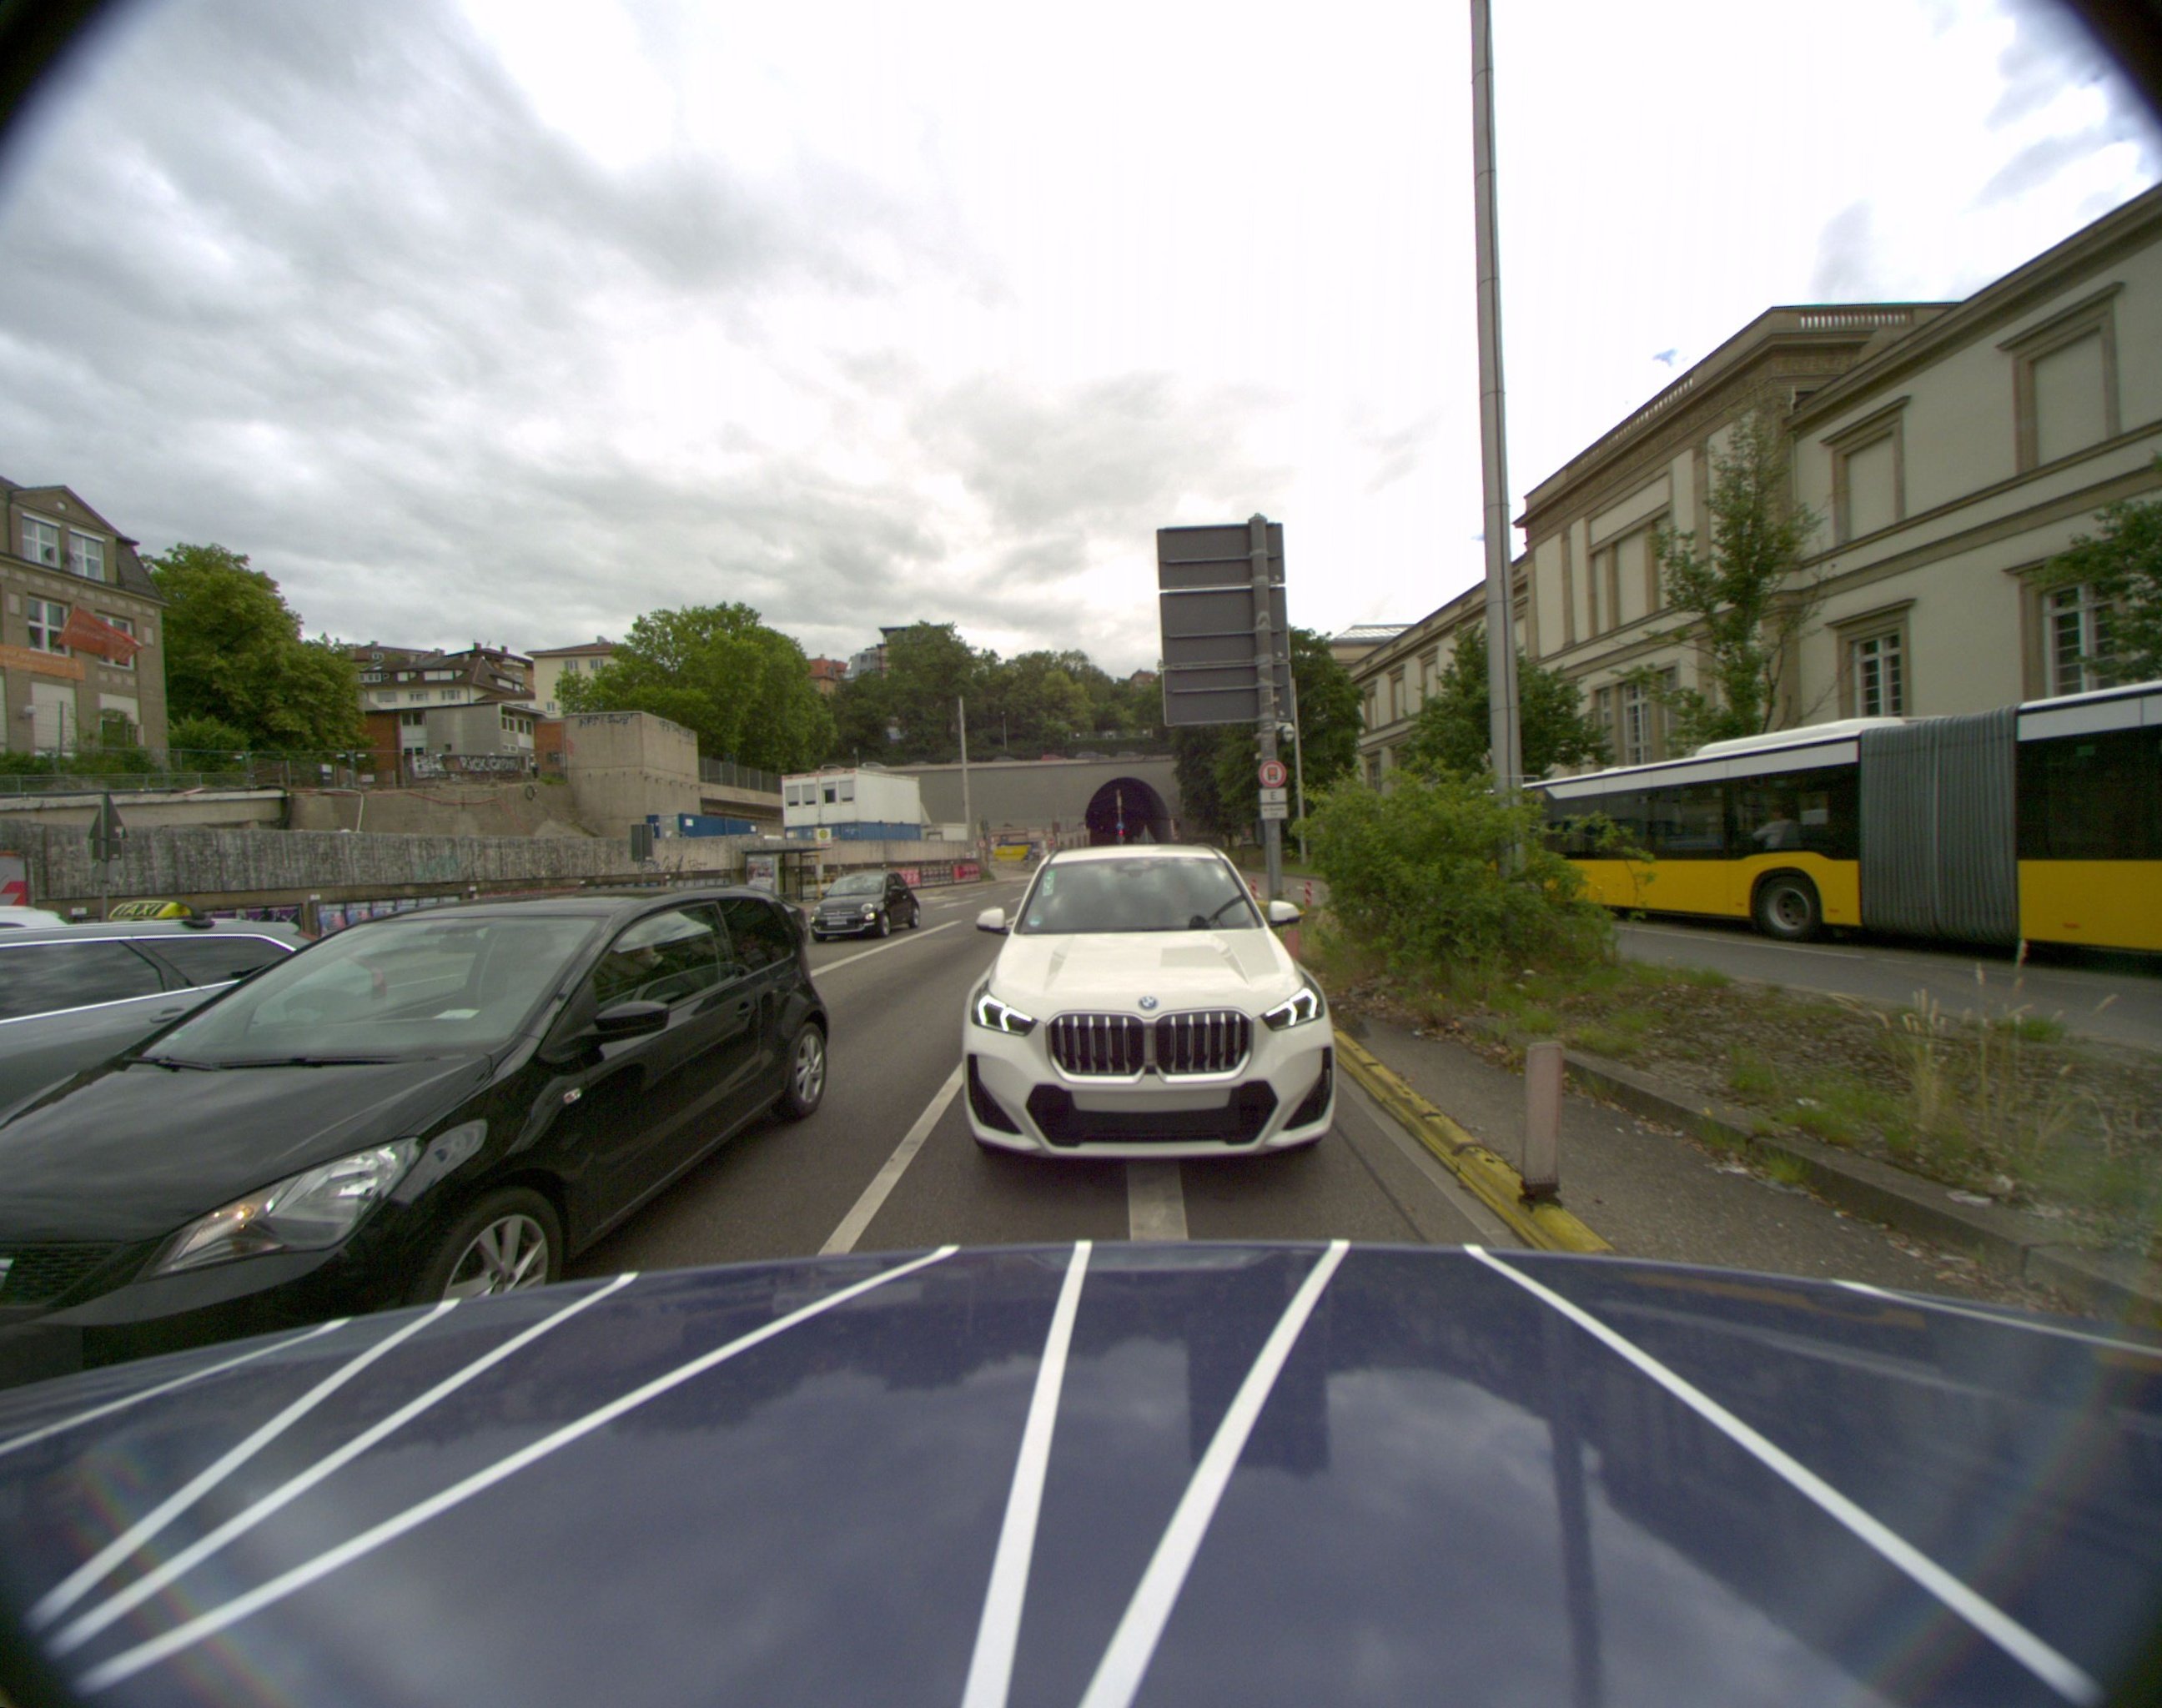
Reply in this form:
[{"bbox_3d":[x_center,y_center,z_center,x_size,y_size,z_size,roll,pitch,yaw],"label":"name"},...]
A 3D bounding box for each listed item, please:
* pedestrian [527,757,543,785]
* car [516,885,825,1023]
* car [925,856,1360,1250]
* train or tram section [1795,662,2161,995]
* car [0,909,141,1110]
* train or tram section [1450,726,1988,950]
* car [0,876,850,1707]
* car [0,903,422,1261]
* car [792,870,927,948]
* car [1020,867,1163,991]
[{"bbox_3d":[-36.557,-5.563,50.894,0.555,1.784,0.569,-2,1,-1],"label":"pedestrian"},{"bbox_3d":[-5.401,1.231,10.766,1.826,1.356,4.219,-2,0,4],"label":"car"},{"bbox_3d":[0.337,0.852,5.128,1.756,1.547,3.911,-2,1,3],"label":"car"},{"bbox_3d":[11.245,-0.251,5.859,2.700,3.053,9.336,-1,0,0],"label":"train or tram section"},{"bbox_3d":[-9.152,1.262,4.584,1.826,1.457,4.073,-2,1,0],"label":"car"},{"bbox_3d":[11.132,-0.222,15.205,2.701,3.053,9.375,-1,0,-1],"label":"train or tram section"},{"bbox_3d":[-2.531,0.982,3.281,1.661,1.547,3.911,-2,1,3],"label":"car"},{"bbox_3d":[-5.826,1.147,3.460,1.826,1.457,4.217,-2,1,2],"label":"car"},{"bbox_3d":[-4.956,1.184,17.558,1.720,1.450,3.782,-3,0,4],"label":"car"},{"bbox_3d":[0.219,0.995,11.604,1.756,1.427,3.911,-2,0,3],"label":"car"}]
